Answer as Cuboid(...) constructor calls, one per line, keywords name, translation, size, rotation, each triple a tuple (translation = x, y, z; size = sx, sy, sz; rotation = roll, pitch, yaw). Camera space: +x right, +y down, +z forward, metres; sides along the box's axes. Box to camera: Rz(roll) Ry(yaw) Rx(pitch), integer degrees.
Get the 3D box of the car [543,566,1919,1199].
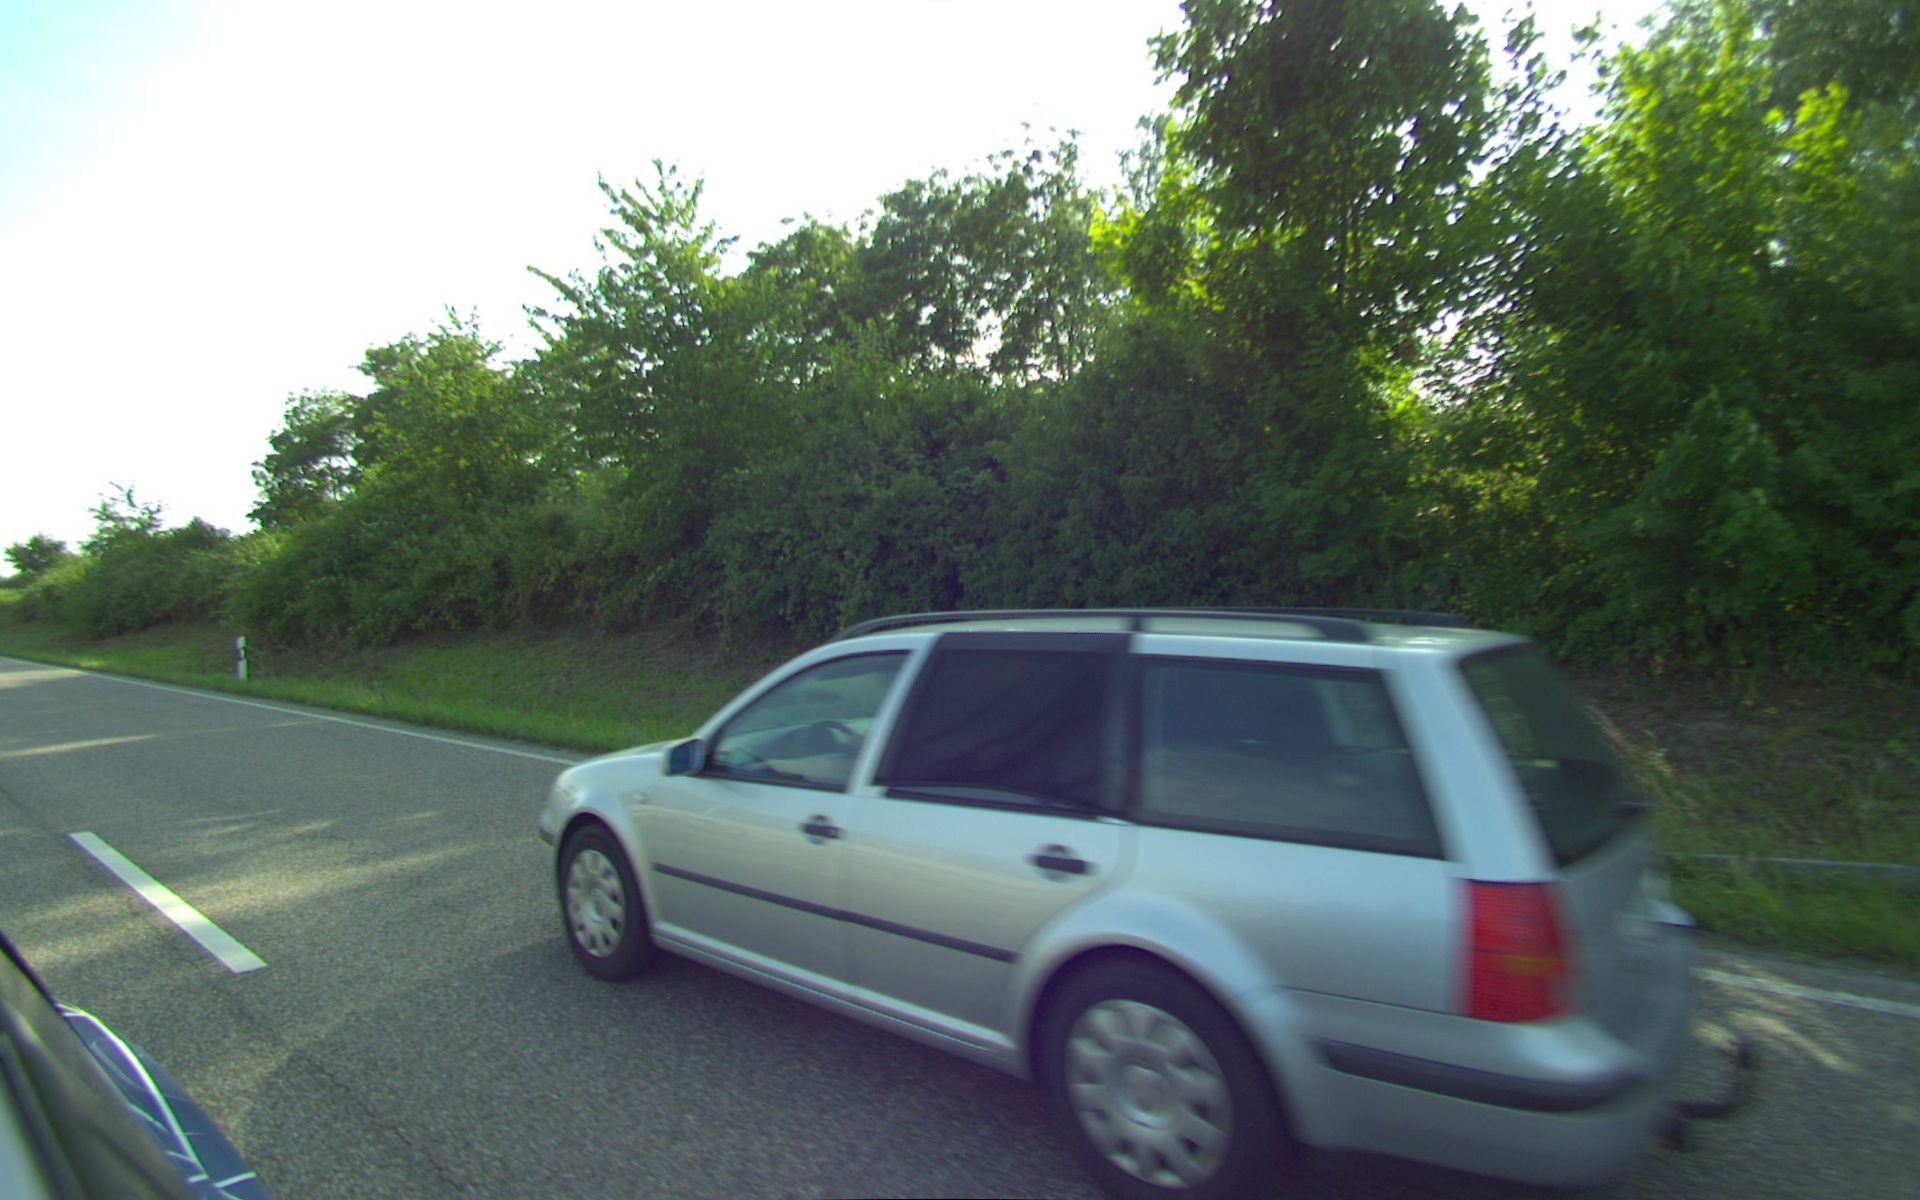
Cuboid(name="car", translation=(0.580, 0.661, 3.265), size=(4.356, 1.405, 1.703), rotation=(-1, 0, 39))
